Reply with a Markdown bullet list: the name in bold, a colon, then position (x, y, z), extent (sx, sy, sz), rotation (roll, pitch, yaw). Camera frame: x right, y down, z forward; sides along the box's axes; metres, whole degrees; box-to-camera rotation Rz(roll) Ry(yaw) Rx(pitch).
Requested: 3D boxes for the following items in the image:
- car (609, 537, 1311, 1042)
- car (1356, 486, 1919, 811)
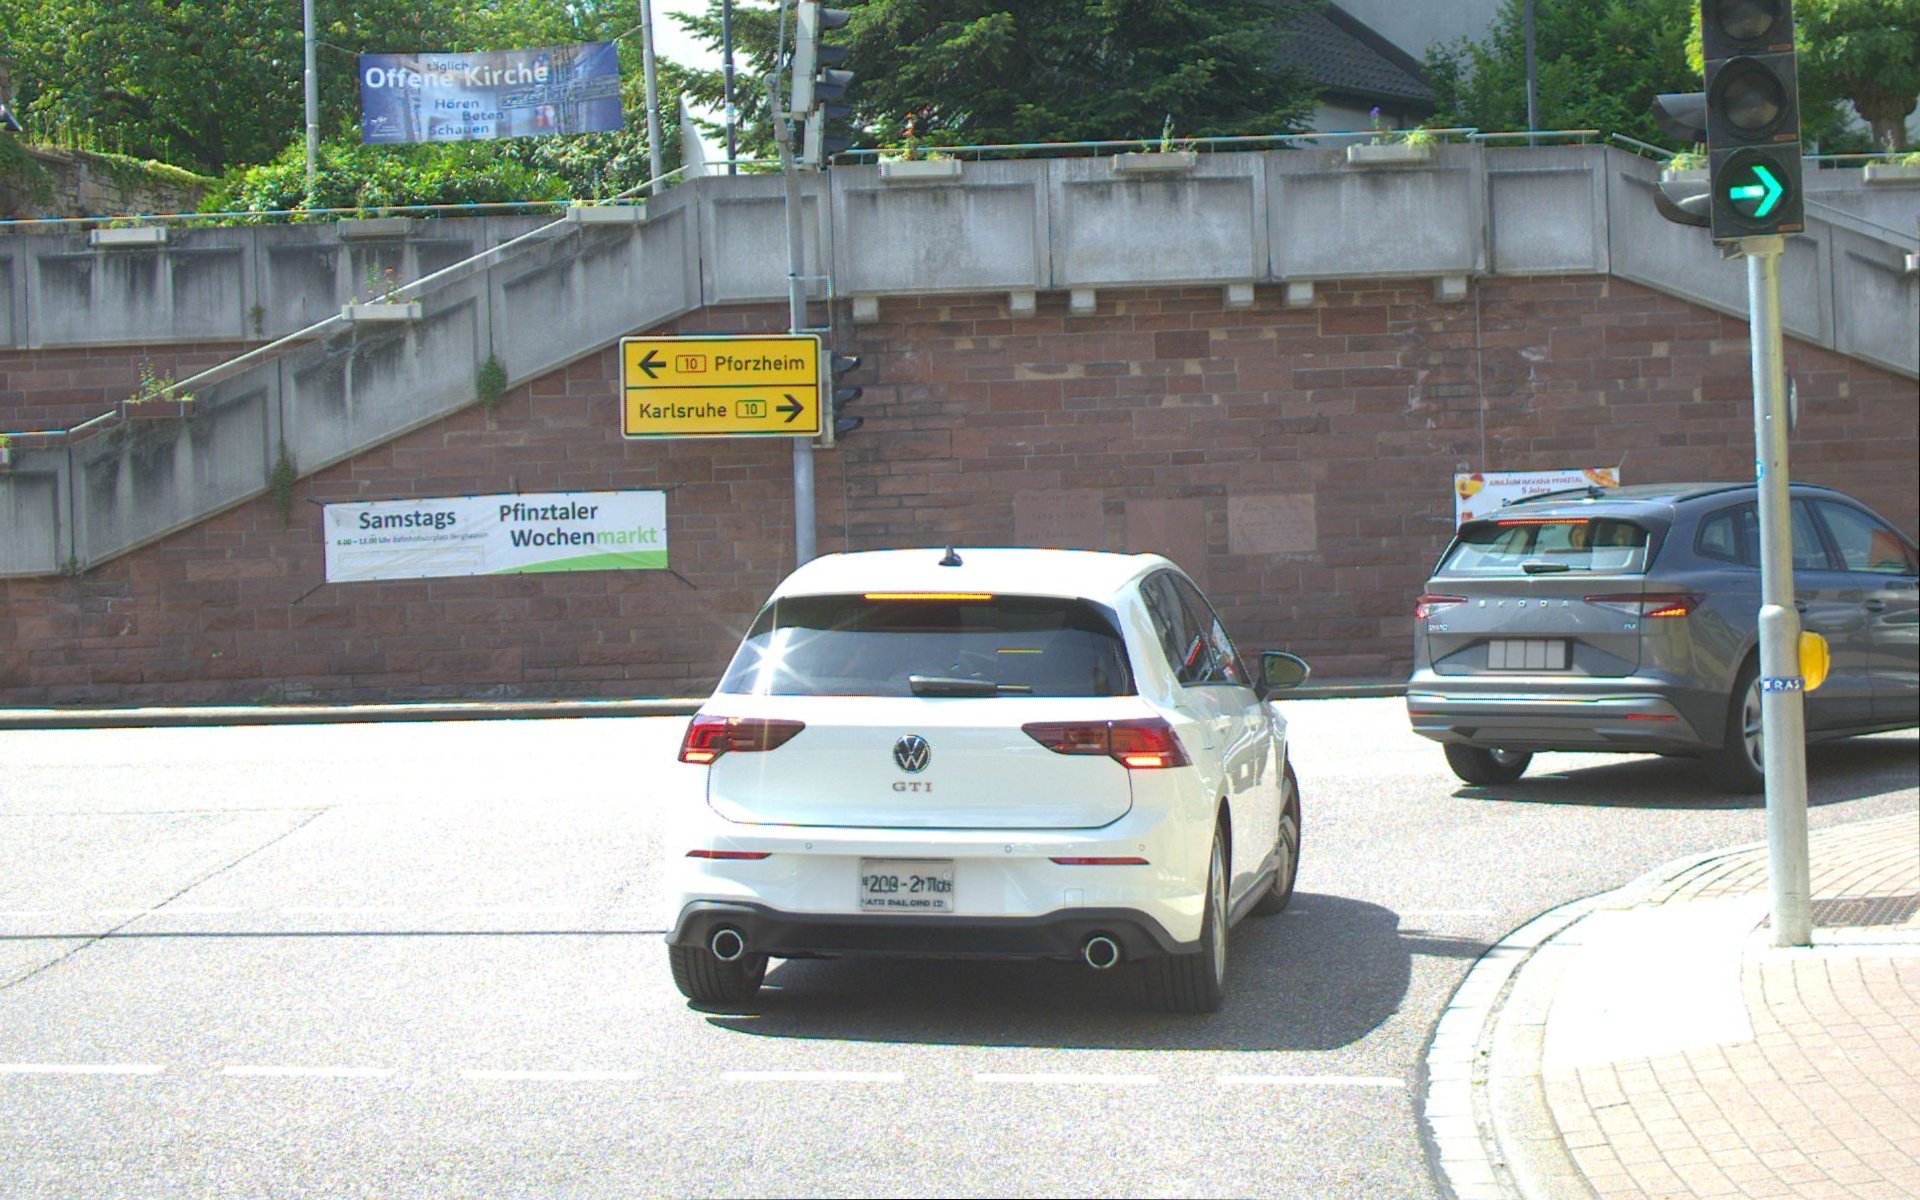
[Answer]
- **car**: position (0.180, 0.541, 12.006), extent (1.783, 1.453, 3.861), rotation (-2, 1, 10)
- **car**: position (4.240, 0.175, 19.180), extent (1.954, 1.577, 4.316), rotation (0, 2, 40)
